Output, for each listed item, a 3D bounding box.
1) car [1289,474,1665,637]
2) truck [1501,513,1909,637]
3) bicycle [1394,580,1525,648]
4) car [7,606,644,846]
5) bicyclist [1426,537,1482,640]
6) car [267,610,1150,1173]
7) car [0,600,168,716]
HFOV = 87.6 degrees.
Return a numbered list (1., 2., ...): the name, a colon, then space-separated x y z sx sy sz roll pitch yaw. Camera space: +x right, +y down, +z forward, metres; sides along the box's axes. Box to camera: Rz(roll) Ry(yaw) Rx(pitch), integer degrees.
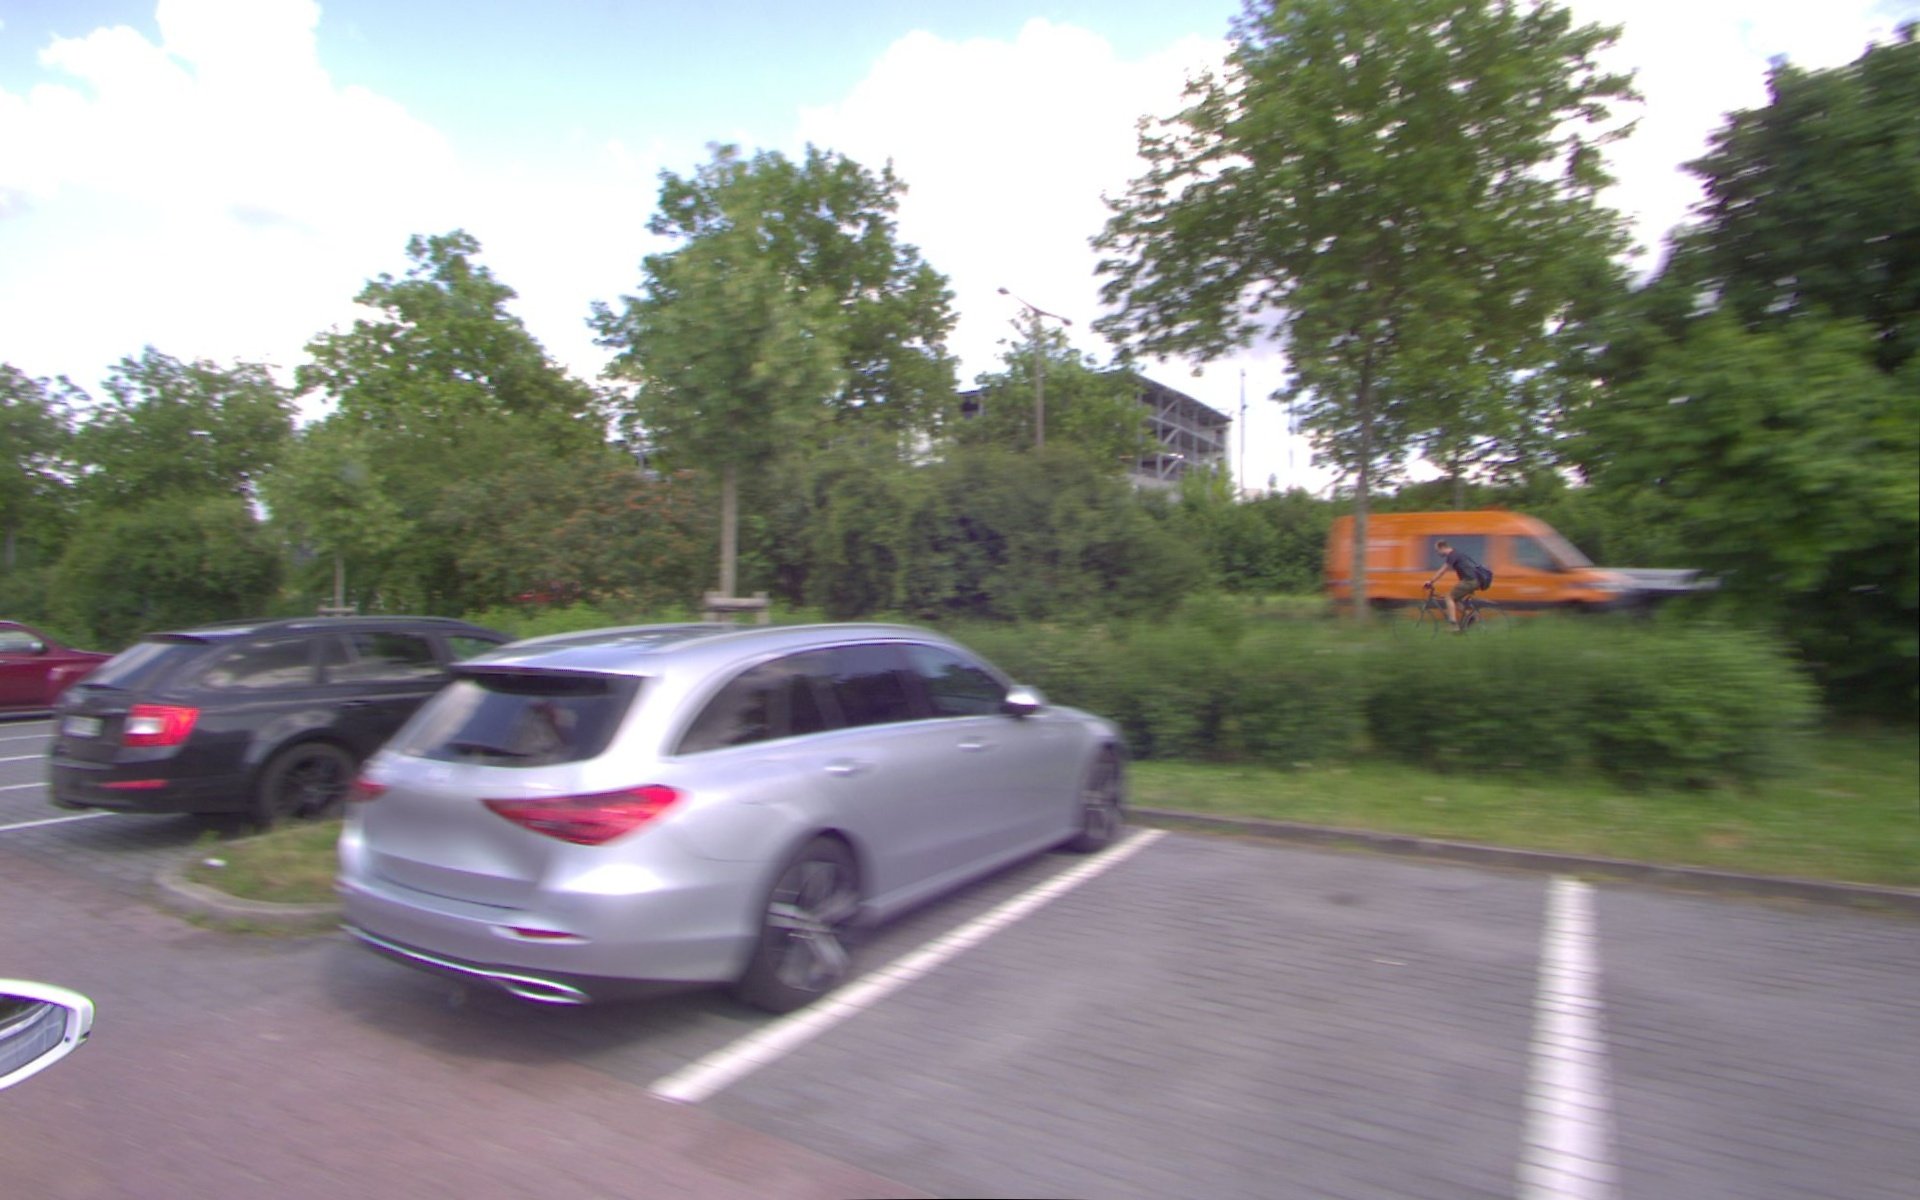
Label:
1. car: 10.912 -0.743 21.650 6.892 2.921 1.990 -3 -3 32
2. truck: 15.773 -0.479 21.888 6.885 2.375 1.990 0 1 31
3. bicycle: 8.018 0.238 16.116 1.844 1.051 0.525 -1 -2 33
4. car: -4.672 0.793 8.015 1.674 1.398 3.981 -2 -2 30
5. bicyclist: 7.961 -0.161 16.140 0.751 1.612 0.633 0 -1 32
6. car: -0.651 0.852 5.282 1.758 1.524 4.630 0 1 31
7. car: -14.483 0.829 14.502 1.971 1.617 4.298 0 1 31
